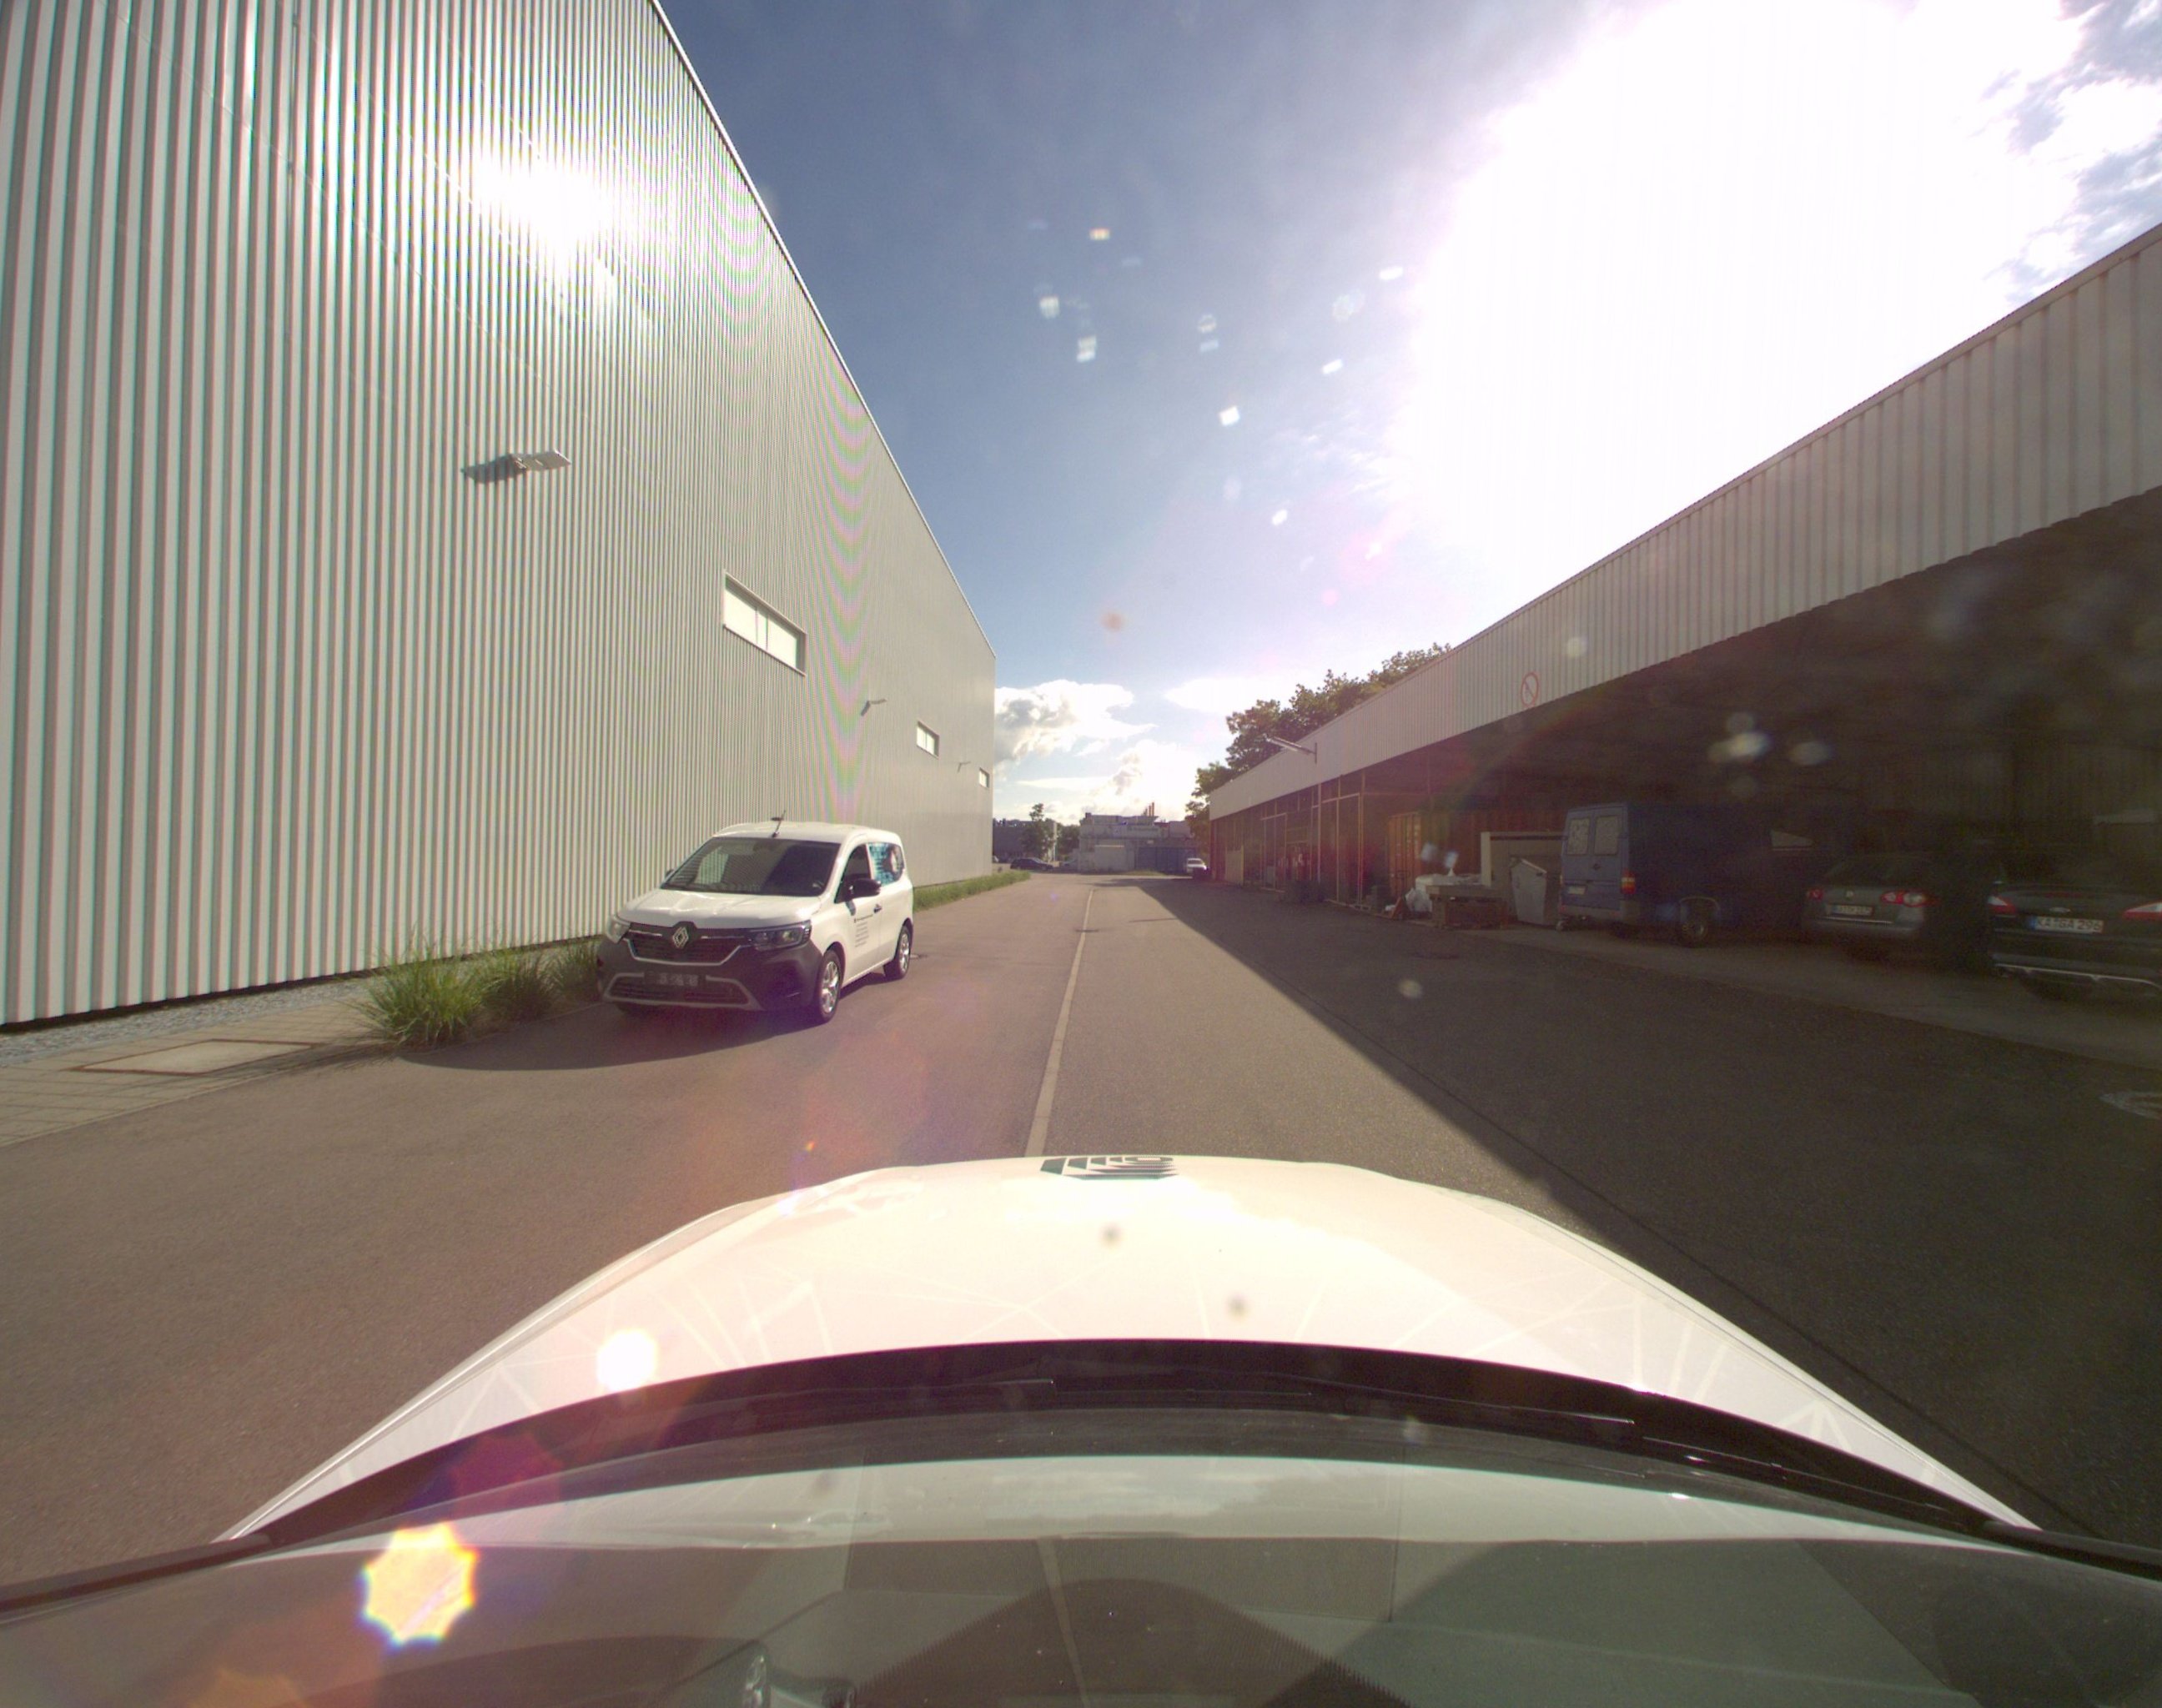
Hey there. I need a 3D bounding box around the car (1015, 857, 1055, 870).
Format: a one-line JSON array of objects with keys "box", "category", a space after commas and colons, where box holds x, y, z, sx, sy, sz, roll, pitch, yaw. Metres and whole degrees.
[{"box": [-5.273, 1.106, 94.146, 4.432, 1.531, 1.824, -1, -1, 0], "category": "car"}]

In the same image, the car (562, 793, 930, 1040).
[{"box": [-2.971, 0.501, 8.504, 1.777, 1.816, 4.602, 2, -1, 1], "category": "car"}]

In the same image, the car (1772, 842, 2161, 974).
[{"box": [11.532, 0.636, 10.384, 3.953, 1.514, 1.839, 0, -1, -2], "category": "car"}]

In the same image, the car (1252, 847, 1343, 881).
[{"box": [12.541, 0.598, 47.371, 4.764, 1.916, 1.995, 0, -1, -7], "category": "car"}]

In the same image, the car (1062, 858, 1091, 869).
[{"box": [-0.637, 1.383, 118.346, 4.288, 1.457, 1.824, -1, -1, 0], "category": "car"}]

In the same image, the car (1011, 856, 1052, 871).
[{"box": [-5.498, 1.059, 90.503, 4.432, 1.531, 1.824, -1, -1, 0], "category": "car"}]

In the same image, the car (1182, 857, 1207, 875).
[{"box": [10.830, 1.127, 77.853, 1.971, 1.602, 4.380, -1, 1, 3], "category": "car"}]

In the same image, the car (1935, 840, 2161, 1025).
[{"box": [10.693, 0.631, 7.308, 4.237, 1.471, 1.868, 0, 0, -2], "category": "car"}]

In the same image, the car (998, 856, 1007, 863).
[{"box": [-17.902, 1.285, 186.008, 1.852, 1.494, 4.028, -1, -1, -1], "category": "car"}]

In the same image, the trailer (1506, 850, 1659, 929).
[{"box": [9.870, 0.674, 16.172, 2.028, 1.466, 1.741, -1, -1, 5], "category": "trailer"}]

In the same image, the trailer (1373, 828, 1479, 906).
[{"box": [10.182, 0.371, 24.229, 1.914, 2.143, 2.803, -1, -1, -1], "category": "trailer"}]

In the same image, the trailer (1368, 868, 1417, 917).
[{"box": [7.363, 0.888, 19.309, 0.550, 1.118, 1.546, -1, -1, -1], "category": "trailer"}]

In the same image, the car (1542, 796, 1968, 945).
[{"box": [10.928, 0.260, 13.550, 5.314, 2.281, 2.152, 0, -1, 0], "category": "car"}]

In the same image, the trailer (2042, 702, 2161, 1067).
[{"box": [9.158, 0.163, 4.774, 4.499, 2.342, 2.048, -1, -1, 2], "category": "trailer"}]

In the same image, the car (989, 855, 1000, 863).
[{"box": [-19.924, 1.231, 187.868, 1.960, 1.712, 4.028, -1, -1, -1], "category": "car"}]
